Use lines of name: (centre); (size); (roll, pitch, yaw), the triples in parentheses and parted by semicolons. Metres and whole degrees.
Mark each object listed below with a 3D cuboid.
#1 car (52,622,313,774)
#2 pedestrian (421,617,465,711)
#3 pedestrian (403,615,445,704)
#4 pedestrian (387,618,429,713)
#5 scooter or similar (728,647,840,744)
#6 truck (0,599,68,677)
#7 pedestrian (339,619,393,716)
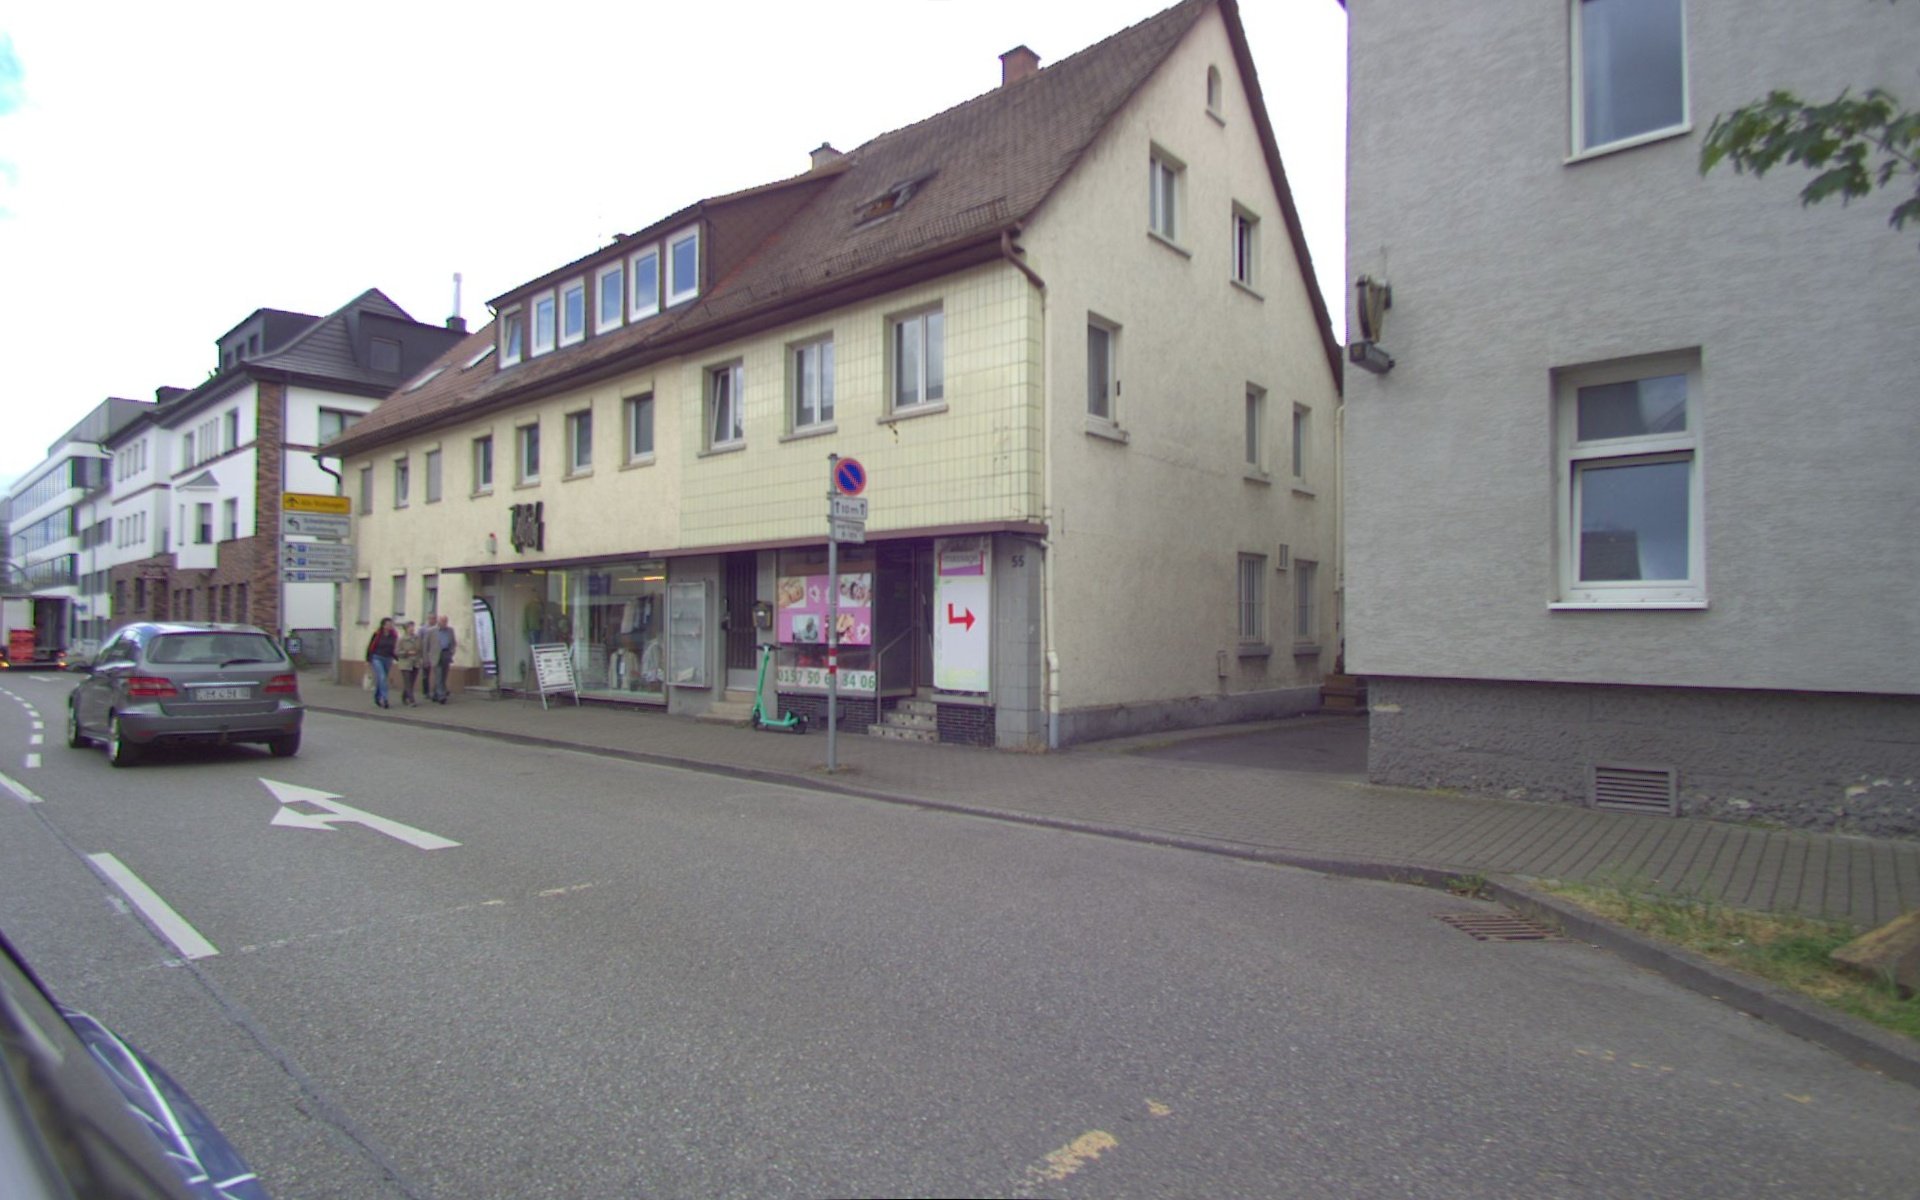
car: (-9.668, 1.104, 12.471); (4.073, 1.564, 1.761); (-2, -4, 42)
pedestrian: (-9.915, 1.214, 19.405); (0.648, 1.750, 0.547); (-2, -3, 42)
pedestrian: (-10.741, 1.185, 20.278); (0.648, 1.750, 0.547); (-2, -3, 42)
pedestrian: (-10.399, 1.224, 19.067); (0.648, 1.750, 0.491); (-2, -3, 42)
scooter or similar: (-2.362, 1.231, 13.471); (1.721, 1.179, 0.522); (-2, -1, 42)
truck: (-38.502, 1.521, 41.545); (5.967, 2.993, 2.434); (-2, -1, 45)
pedestrian: (-11.071, 1.239, 18.857); (0.717, 1.750, 0.670); (-2, -3, 42)
